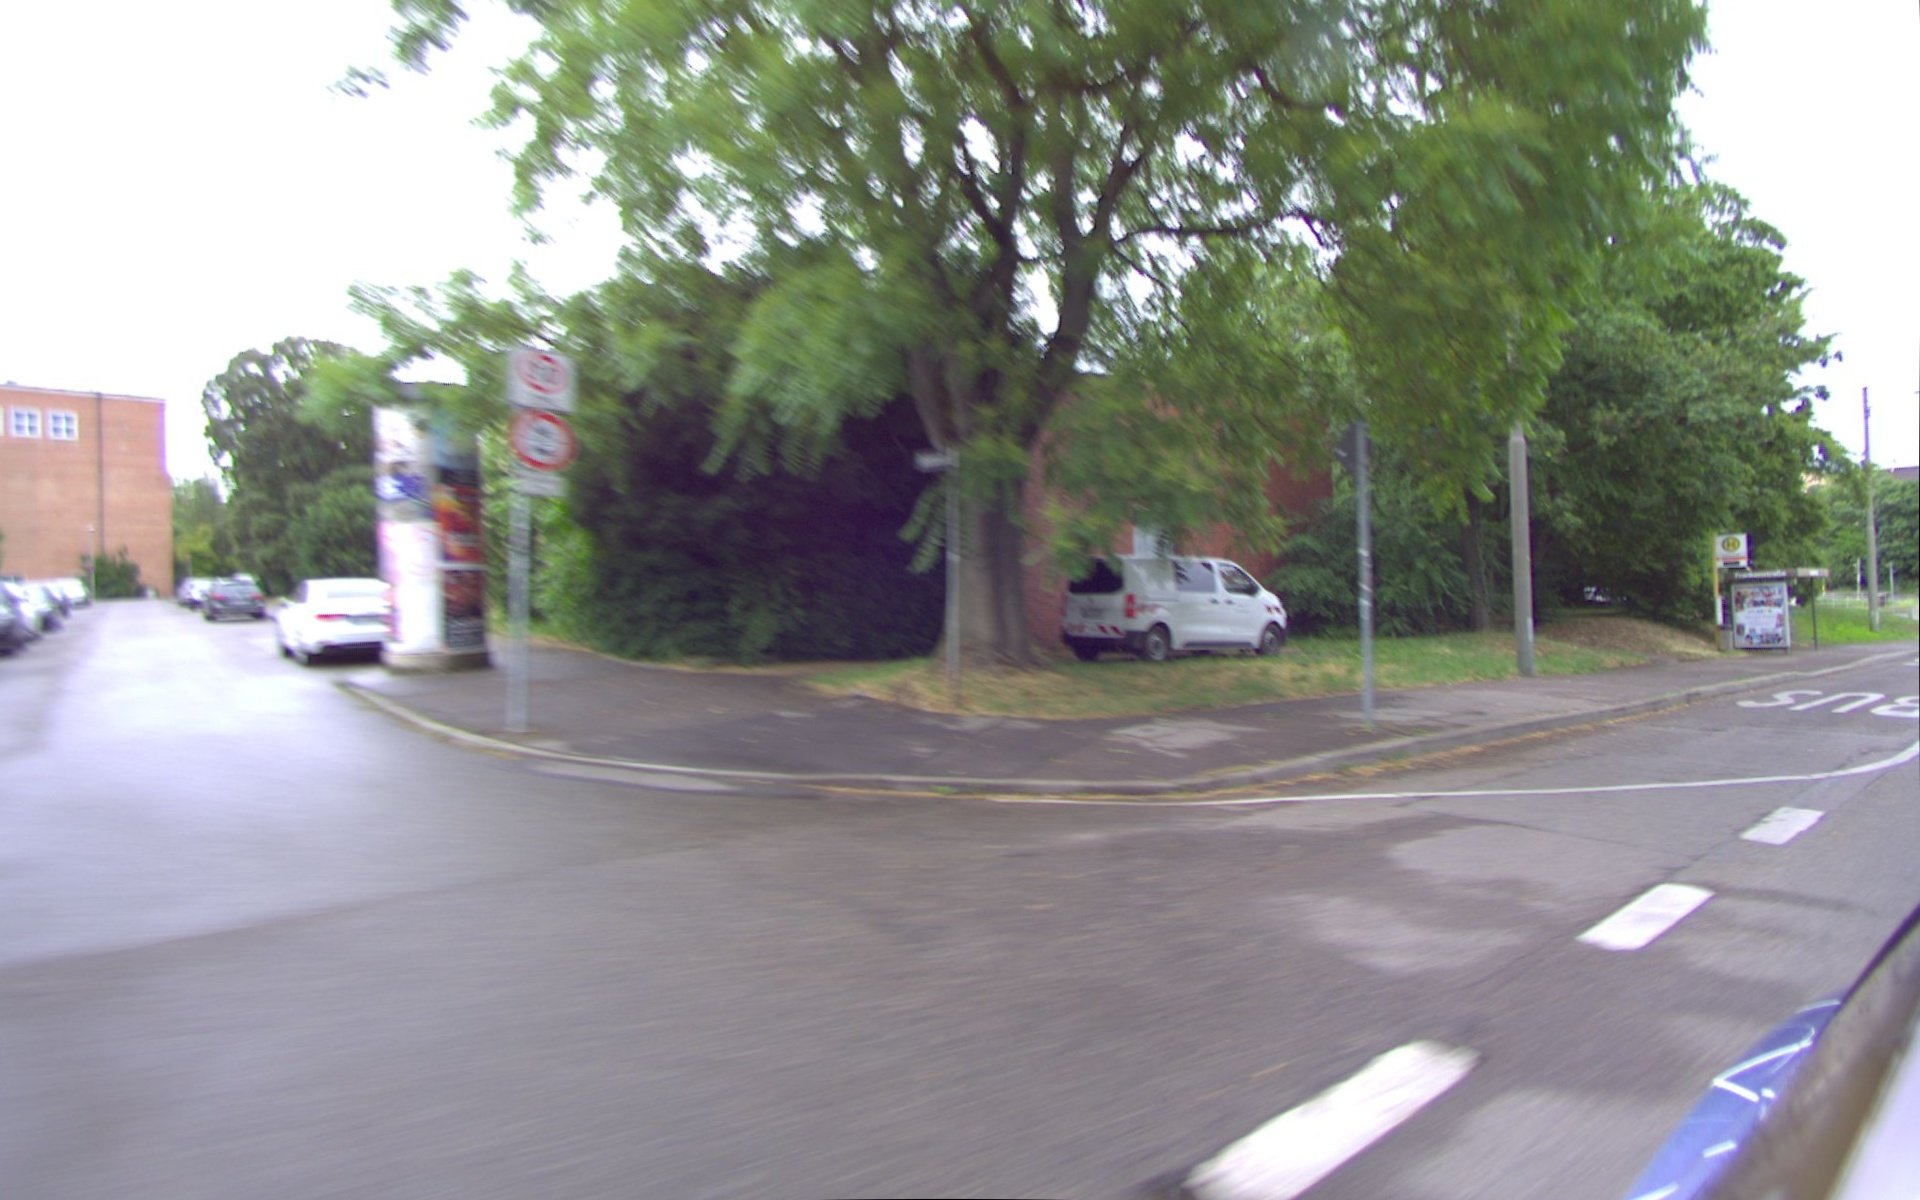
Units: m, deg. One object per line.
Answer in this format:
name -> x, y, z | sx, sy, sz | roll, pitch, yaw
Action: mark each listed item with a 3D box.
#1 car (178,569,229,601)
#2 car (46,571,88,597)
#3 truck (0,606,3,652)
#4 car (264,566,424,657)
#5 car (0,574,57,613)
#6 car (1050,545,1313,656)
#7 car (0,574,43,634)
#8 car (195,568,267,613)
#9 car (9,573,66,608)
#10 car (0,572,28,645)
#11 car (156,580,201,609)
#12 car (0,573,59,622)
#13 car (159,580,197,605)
car -> -38.232, -0.727, 51.089 | 1.675, 1.539, 3.992 | -2, 1, -42
car -> -51.456, -0.934, 58.348 | 1.674, 1.440, 3.994 | -2, 2, -40
truck -> -17.024, 0.007, 16.192 | 1.965, 2.085, 5.841 | -4, 3, -39
car -> -11.275, 0.159, 18.384 | 1.675, 1.440, 4.355 | -2, 1, -42
car -> -37.235, -0.282, 40.352 | 1.674, 1.440, 3.994 | -2, 2, -40
car -> 4.241, 0.051, 18.964 | 5.052, 1.828, 1.998 | 0, -3, -38
car -> -24.434, 0.065, 25.600 | 1.674, 1.440, 3.994 | 0, 1, -40
car -> -26.683, -0.352, 36.989 | 1.675, 1.539, 3.992 | -2, 1, -42
car -> -40.523, -0.431, 44.534 | 1.674, 1.440, 3.994 | -2, 2, -40
car -> -20.777, 0.133, 21.187 | 1.674, 1.440, 3.994 | 0, 1, -40
car -> -43.760, -0.293, 56.621 | 1.675, 1.539, 3.992 | -2, 1, -42
car -> -29.136, -0.105, 31.387 | 1.674, 1.440, 3.994 | 0, 1, -40
car -> -51.046, -0.478, 66.030 | 1.675, 1.539, 3.992 | -2, 1, -42
